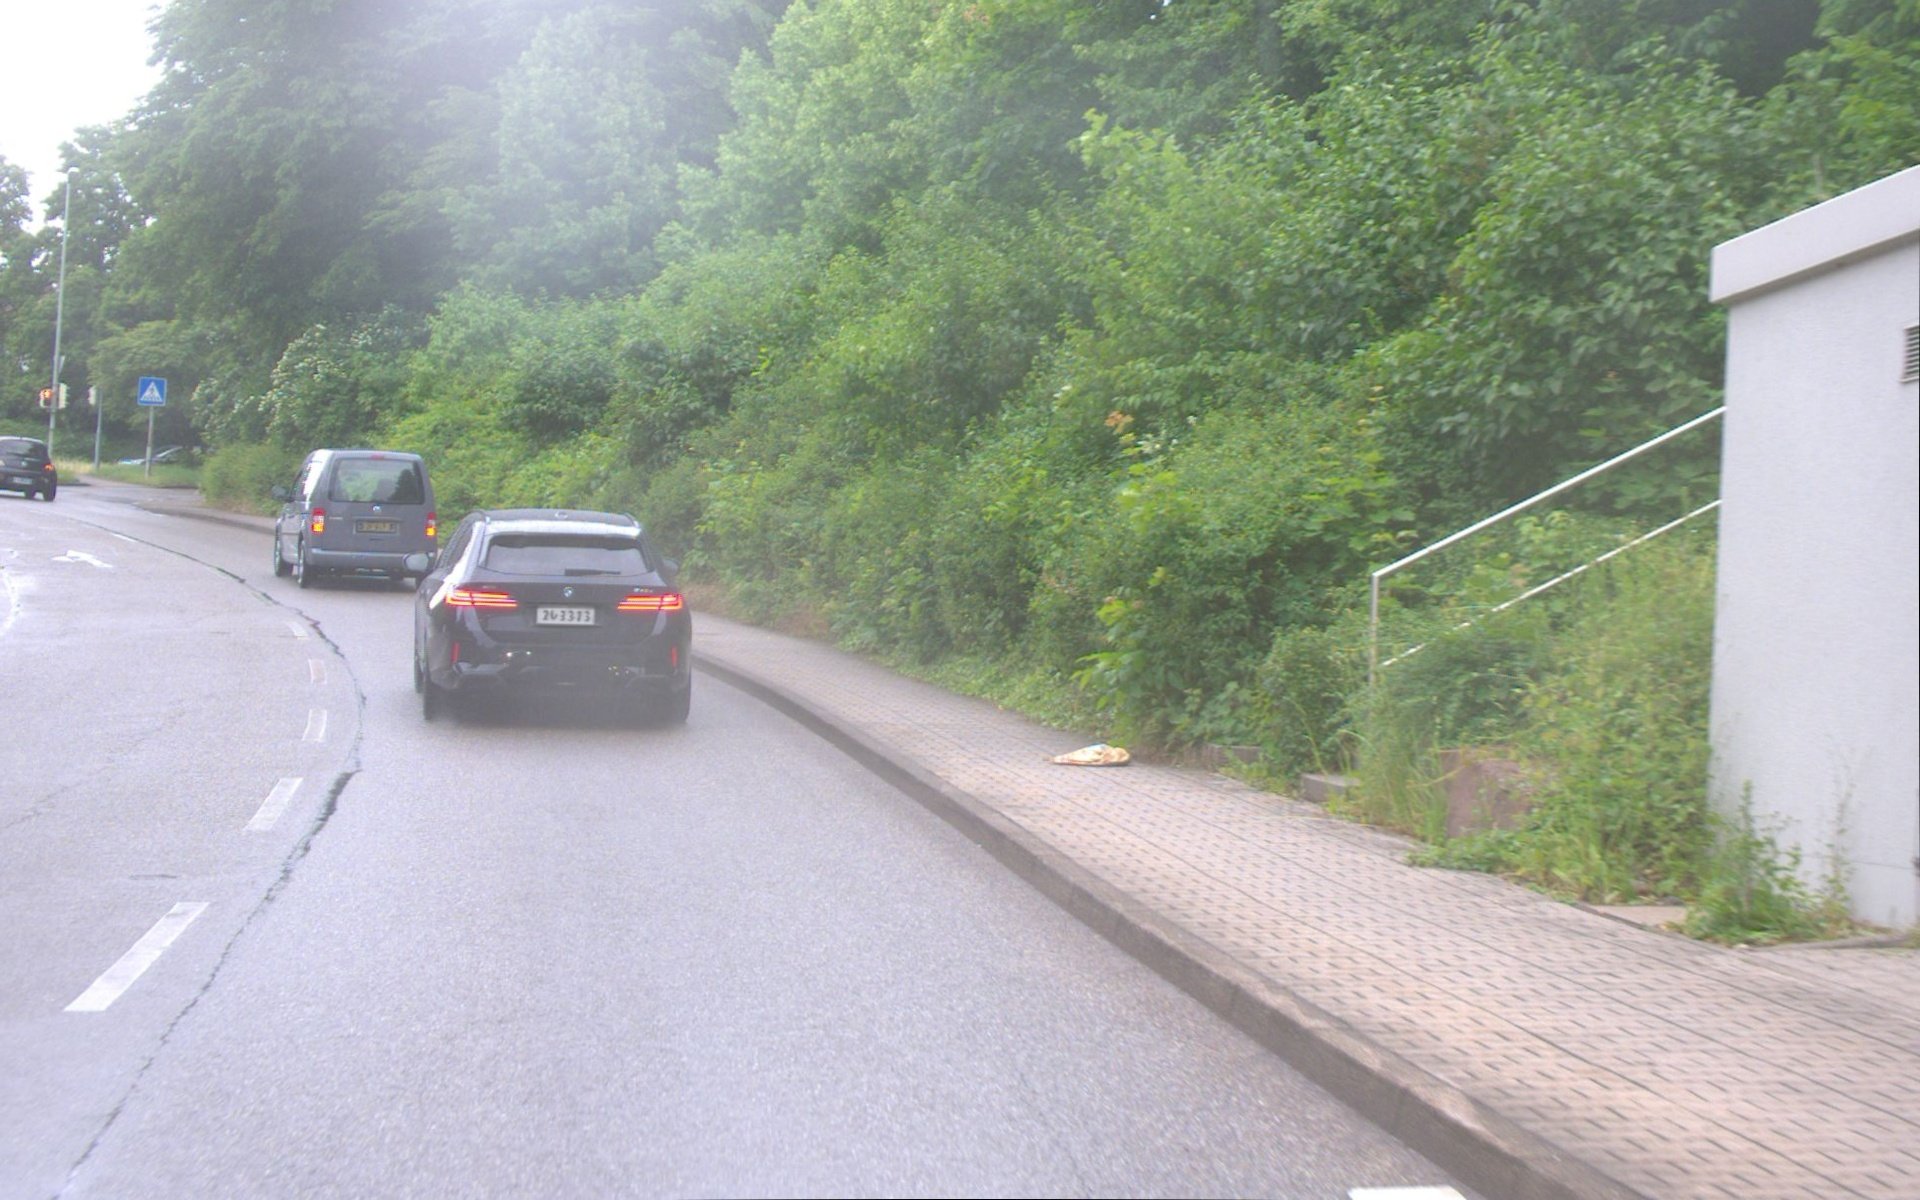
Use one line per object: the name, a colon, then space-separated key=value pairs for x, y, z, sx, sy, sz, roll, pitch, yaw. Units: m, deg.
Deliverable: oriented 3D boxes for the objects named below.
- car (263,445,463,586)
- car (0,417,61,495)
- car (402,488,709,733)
car: x=-7.957 y=-1.150 z=45.566 sx=1.993 sy=1.742 sz=4.002 roll=1 pitch=2 yaw=-19
car: x=-22.999 y=-3.459 z=82.818 sx=1.851 sy=1.656 sz=4.001 roll=3 pitch=-1 yaw=-25
car: x=-3.053 y=0.036 z=25.492 sx=1.993 sy=1.581 sz=4.664 roll=2 pitch=1 yaw=-8
